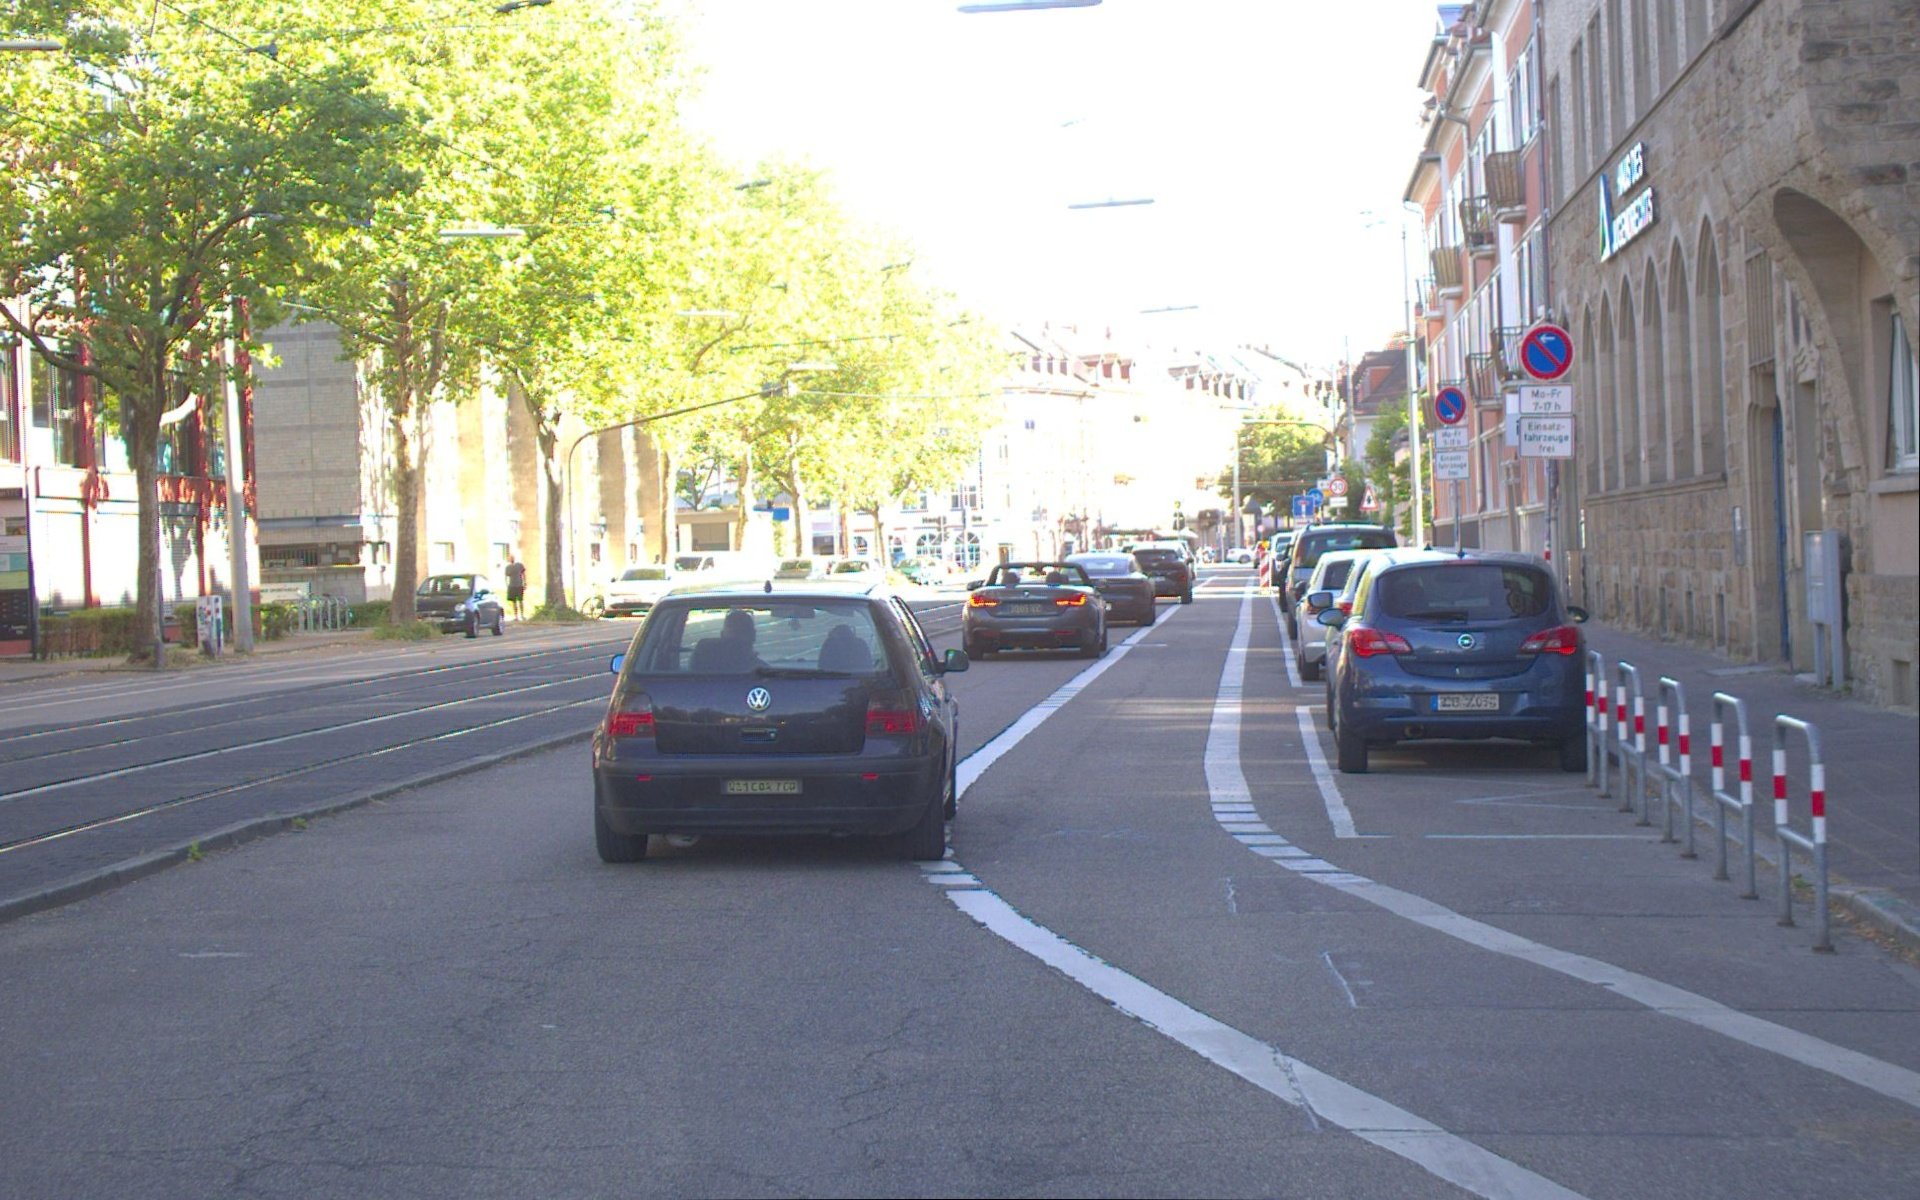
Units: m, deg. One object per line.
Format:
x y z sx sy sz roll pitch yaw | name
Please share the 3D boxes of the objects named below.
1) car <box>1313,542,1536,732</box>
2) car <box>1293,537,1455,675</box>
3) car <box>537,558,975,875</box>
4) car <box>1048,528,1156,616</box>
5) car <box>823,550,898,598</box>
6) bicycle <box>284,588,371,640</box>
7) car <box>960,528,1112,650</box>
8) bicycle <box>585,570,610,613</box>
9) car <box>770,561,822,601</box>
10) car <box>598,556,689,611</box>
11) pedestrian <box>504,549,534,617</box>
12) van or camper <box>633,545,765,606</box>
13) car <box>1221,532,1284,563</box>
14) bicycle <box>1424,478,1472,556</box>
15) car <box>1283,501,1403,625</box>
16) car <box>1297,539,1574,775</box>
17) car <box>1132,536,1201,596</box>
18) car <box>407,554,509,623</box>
3.914 0.257 29.387 1.753 1.495 4.195 0 1 6 | car
4.710 0.030 39.544 1.714 1.495 4.225 0 1 5 | car
-0.939 0.519 17.909 1.749 1.370 4.000 -2 1 4 | car
2.681 -0.544 64.161 1.749 1.532 3.891 -2 1 6 | car
-3.435 -0.908 119.769 1.753 1.513 4.070 -4 0 10 | car
-15.866 0.346 86.257 2.009 1.274 0.664 0 1 6 | bicycle
1.090 -0.182 47.313 1.749 1.532 3.891 -2 1 6 | car
-10.332 -0.247 98.029 0.581 1.205 1.654 0 1 -1 | bicycle
-6.581 -0.750 137.923 1.570 1.528 3.572 -2 0 5 | car
-9.497 -0.508 103.551 2.012 1.567 4.693 0 1 4 | car
-12.132 -0.471 94.567 0.784 1.863 0.671 0 1 -9 | pedestrian
-8.605 -0.832 113.861 2.063 1.943 5.183 1 1 25 | van or camper
19.332 -3.483 227.275 3.986 2.007 2.000 0 1 -1 | car
7.396 -1.257 52.168 0.515 1.136 2.258 -3 1 4 | bicycle
6.044 -0.604 54.586 1.753 1.849 4.815 -1 1 5 | car
3.220 0.334 23.887 1.655 1.477 3.999 -1 1 5 | car
5.344 -0.890 88.679 1.636 1.467 3.729 -2 1 5 | car
-11.588 -0.240 79.538 1.507 1.449 3.462 -2 -2 6 | car
